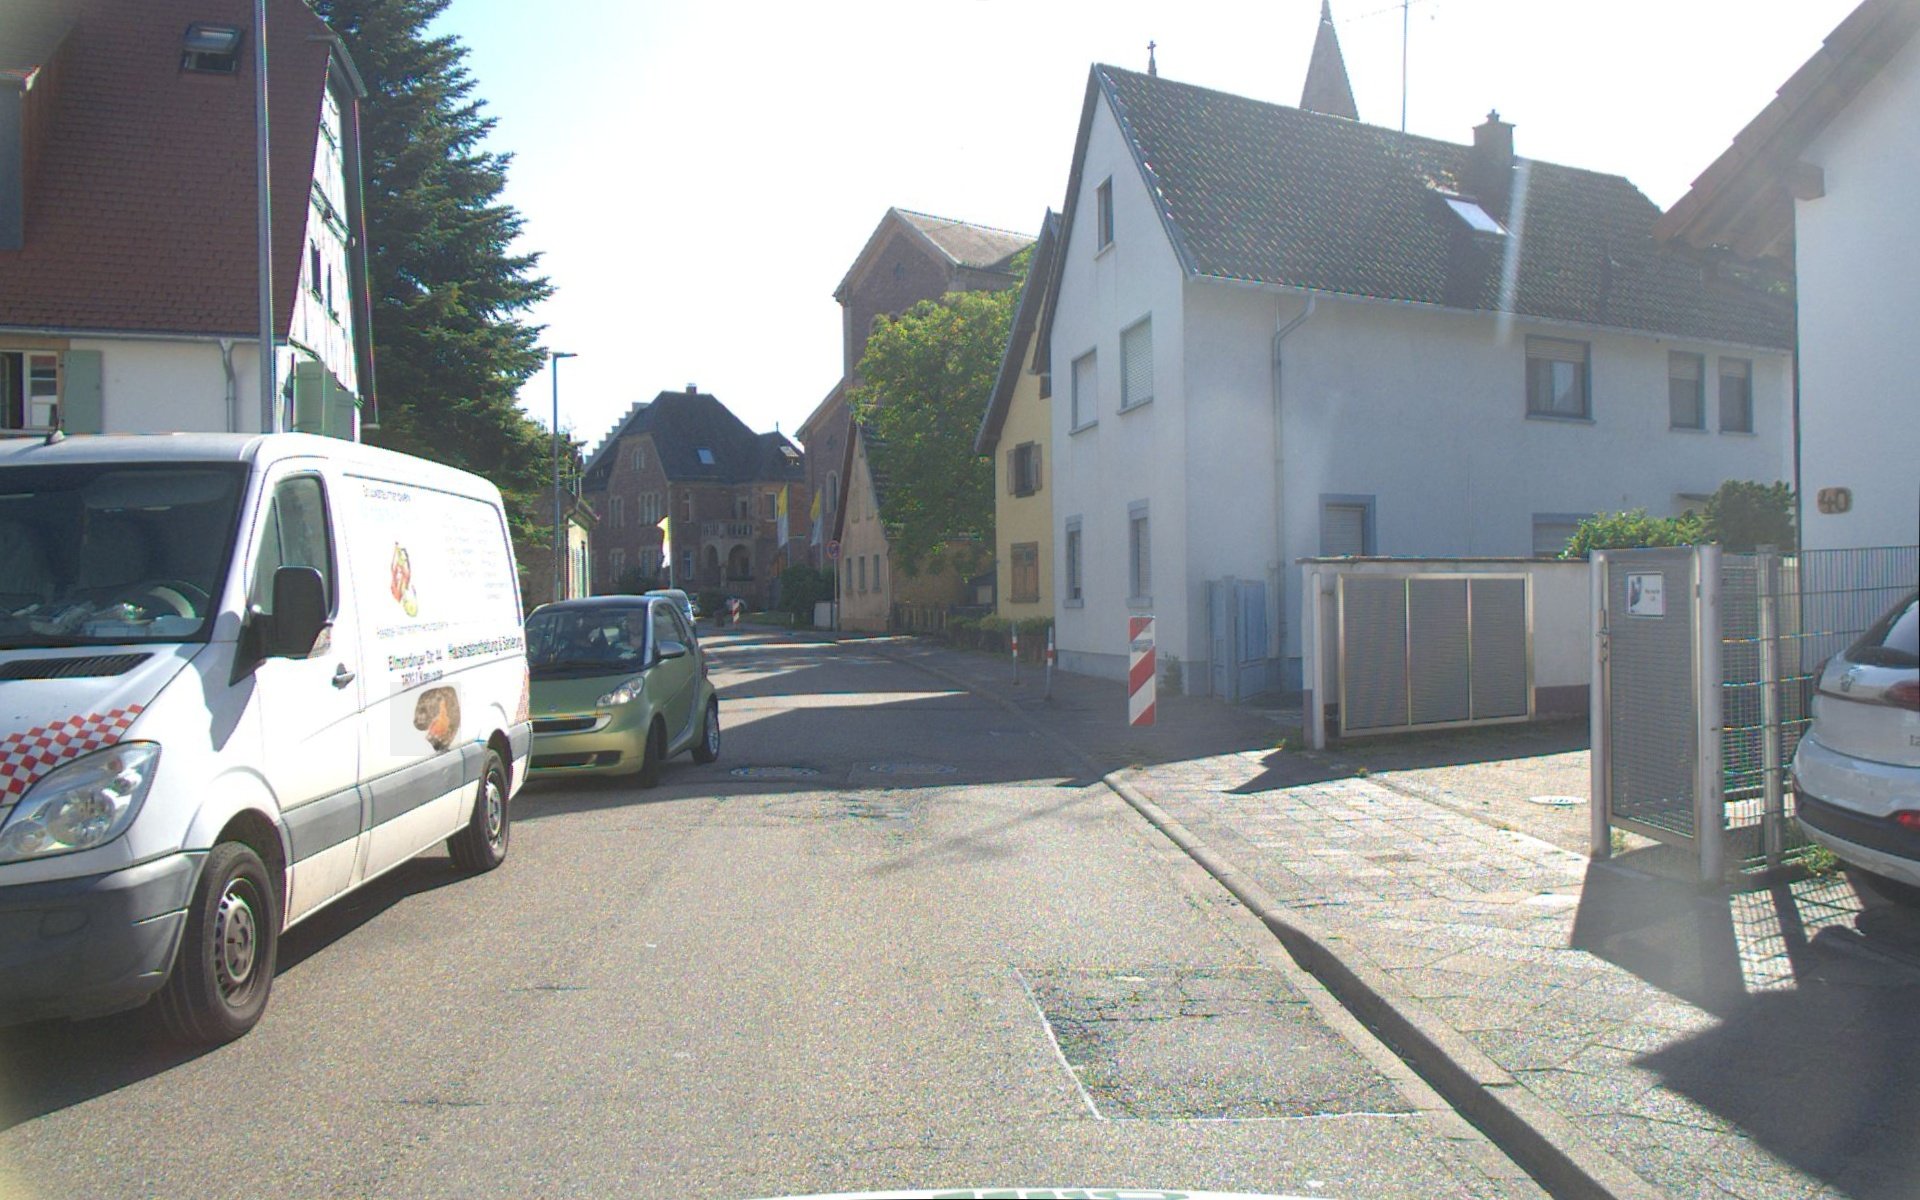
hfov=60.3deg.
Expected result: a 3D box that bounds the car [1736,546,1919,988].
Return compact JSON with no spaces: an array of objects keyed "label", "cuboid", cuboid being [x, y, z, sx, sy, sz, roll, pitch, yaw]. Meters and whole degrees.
[{"label":"car","cuboid":[5.271,0.490,6.229,3.829,1.518,1.849,-2,0,7]}]

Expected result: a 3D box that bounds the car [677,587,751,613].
[{"label":"car","cuboid":[-14.923,0.012,100.557,4.212,1.425,1.691,-2,1,-43]}]

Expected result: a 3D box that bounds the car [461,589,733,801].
[{"label":"car","cuboid":[-3.023,0.729,14.321,1.541,1.573,2.967,-2,1,3]}]

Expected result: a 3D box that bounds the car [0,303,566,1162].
[{"label":"car","cuboid":[-3.636,0.394,7.709,2.153,2.431,6.063,-3,1,-1]}]

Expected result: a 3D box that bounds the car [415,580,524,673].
[{"label":"car","cuboid":[-11.640,0.562,39.533,1.905,1.989,5.129,-2,1,-11]}]

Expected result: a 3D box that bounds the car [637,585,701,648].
[{"label":"car","cuboid":[-9.438,0.493,53.436,1.794,1.845,4.189,-4,1,-12]}]
